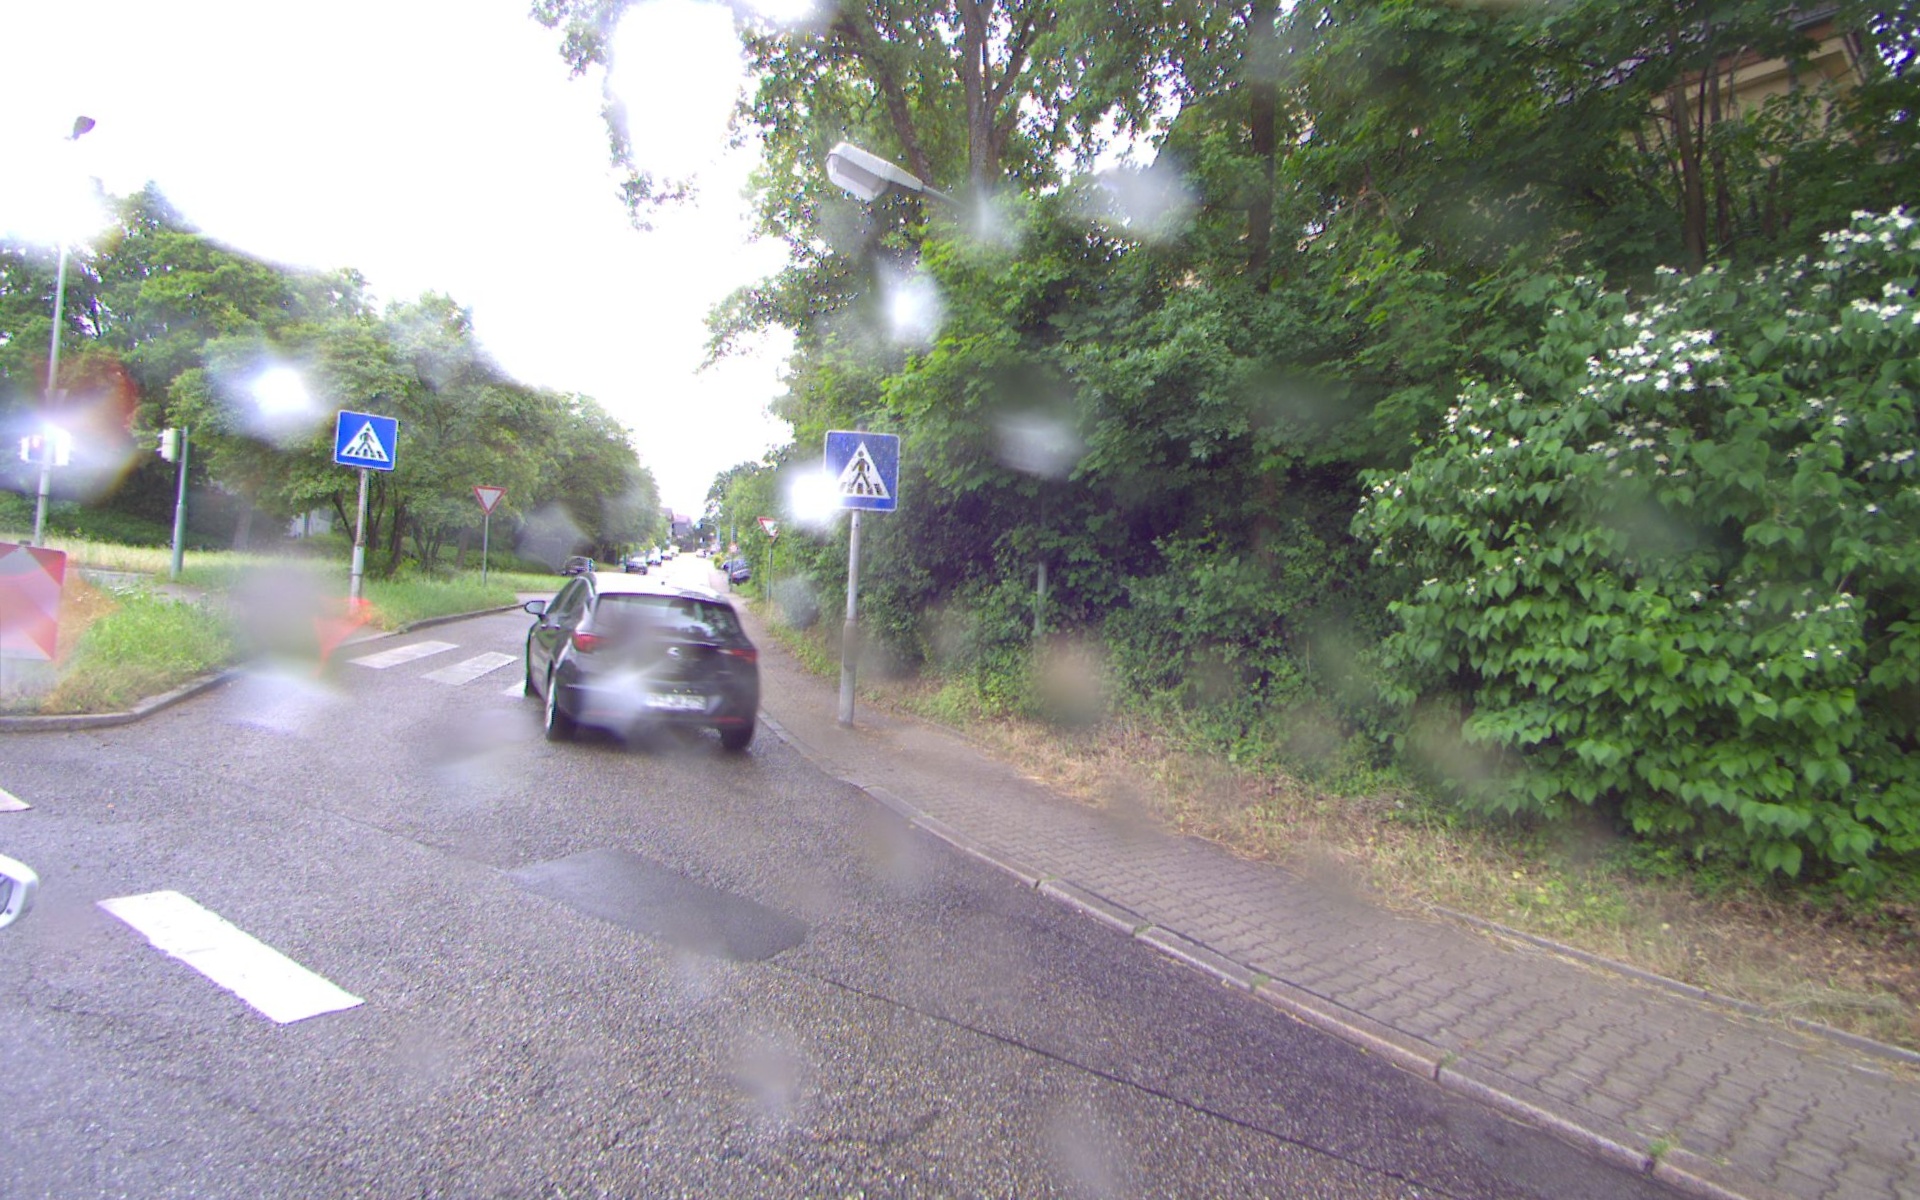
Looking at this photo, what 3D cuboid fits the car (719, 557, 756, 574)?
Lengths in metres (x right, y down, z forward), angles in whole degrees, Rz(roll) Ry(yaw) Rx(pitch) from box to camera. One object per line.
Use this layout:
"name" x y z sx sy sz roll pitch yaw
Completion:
"car" -25.726 -3.980 116.095 3.940 1.594 1.766 5 1 -18

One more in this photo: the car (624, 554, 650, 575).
"car" -30.068 -3.284 93.736 1.874 1.467 4.285 7 -2 -13

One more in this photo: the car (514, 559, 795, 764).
"car" -3.230 0.486 9.997 1.798 1.459 4.135 9 -3 -27

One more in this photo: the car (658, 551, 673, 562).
"car" -46.712 -6.873 159.509 1.877 1.413 4.151 7 -2 -20

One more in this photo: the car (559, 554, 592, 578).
"car" -25.859 -2.284 67.743 1.651 1.387 3.477 6 0 -16

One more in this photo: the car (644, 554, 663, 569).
"car" -37.661 -4.764 123.648 1.968 1.463 4.277 7 -2 -19
